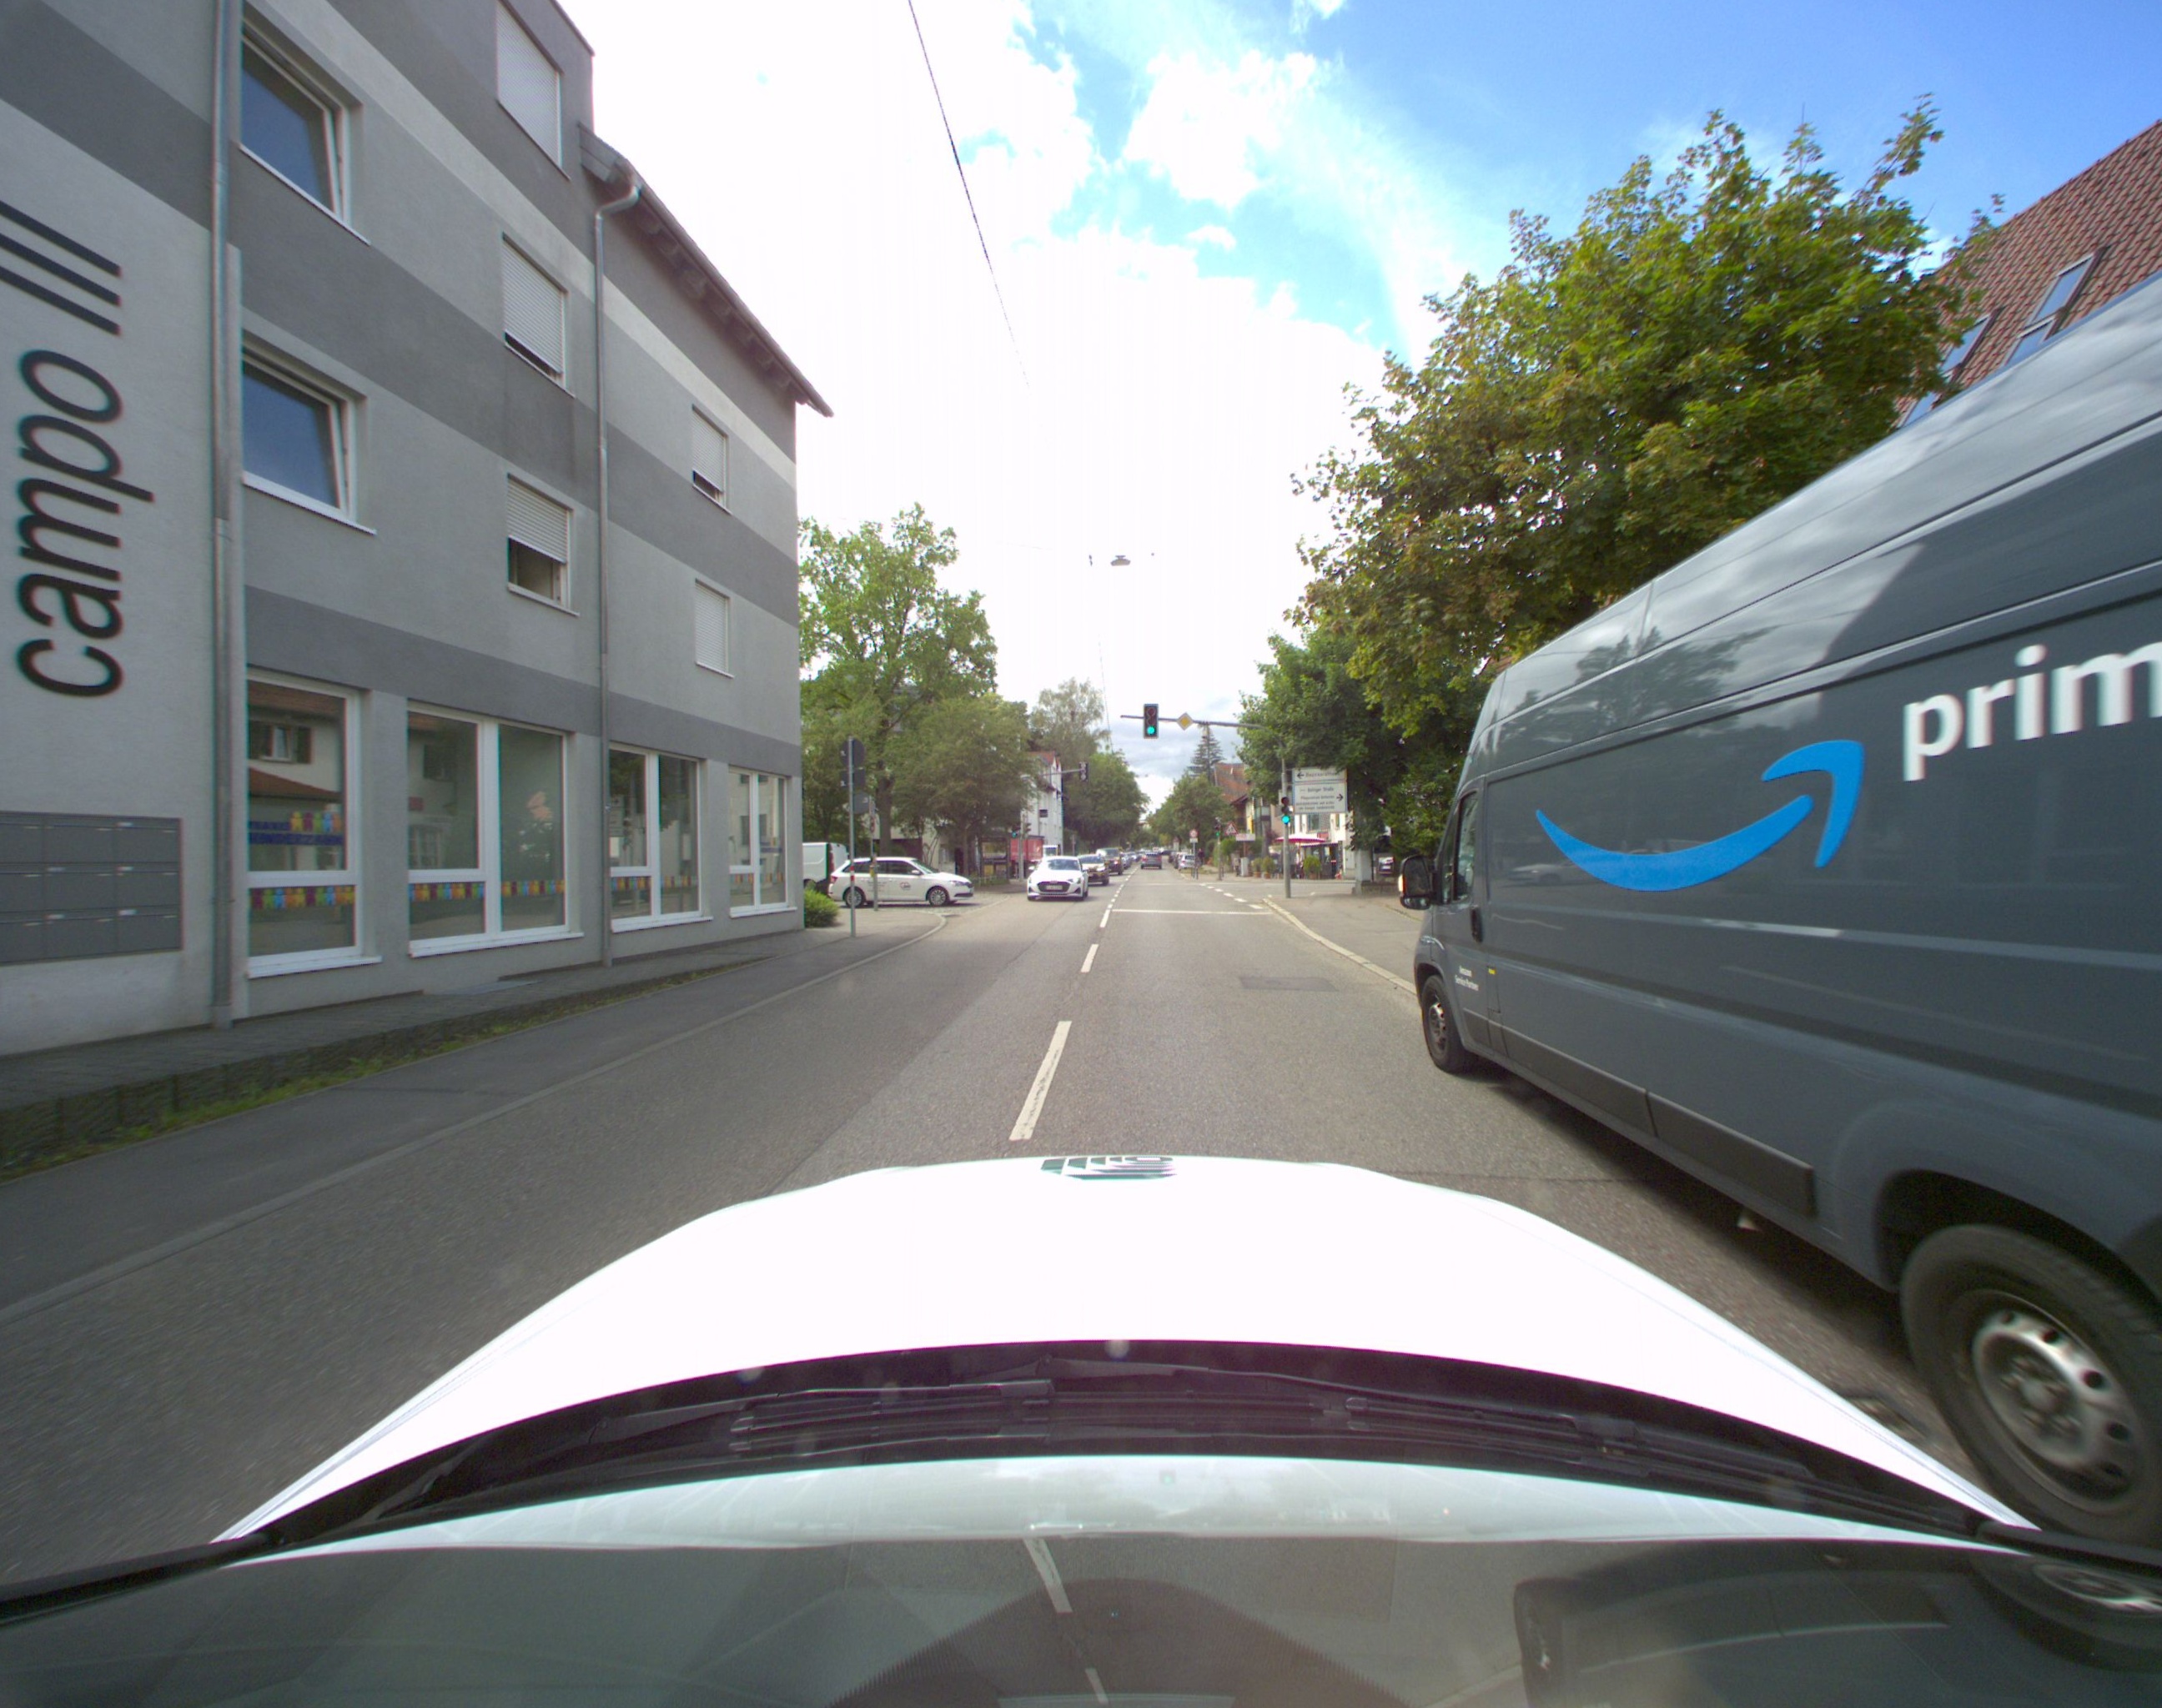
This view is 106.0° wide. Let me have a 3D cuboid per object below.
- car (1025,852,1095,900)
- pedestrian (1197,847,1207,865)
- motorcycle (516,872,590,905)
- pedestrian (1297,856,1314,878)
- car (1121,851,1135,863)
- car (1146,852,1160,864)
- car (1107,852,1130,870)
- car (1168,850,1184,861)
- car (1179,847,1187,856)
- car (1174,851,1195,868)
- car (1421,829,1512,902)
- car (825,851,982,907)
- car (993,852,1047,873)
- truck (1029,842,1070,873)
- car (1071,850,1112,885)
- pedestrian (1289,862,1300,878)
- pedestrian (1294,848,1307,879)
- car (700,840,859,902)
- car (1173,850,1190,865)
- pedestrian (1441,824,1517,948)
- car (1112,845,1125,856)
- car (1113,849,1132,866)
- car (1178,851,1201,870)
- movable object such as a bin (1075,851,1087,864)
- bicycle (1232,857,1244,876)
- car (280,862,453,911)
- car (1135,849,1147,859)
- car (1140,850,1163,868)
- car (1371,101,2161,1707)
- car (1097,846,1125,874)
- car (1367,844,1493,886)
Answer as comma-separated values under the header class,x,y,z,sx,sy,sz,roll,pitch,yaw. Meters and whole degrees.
class,x,y,z,sx,sy,sz,roll,pitch,yaw
car,-0.617,0.665,26.953,1.865,1.424,4.120,-1,0,5
pedestrian,11.751,0.226,79.153,0.876,1.712,0.844,-1,-1,6
motorcycle,-17.973,1.141,27.819,1.201,1.004,2.333,-1,0,-8
pedestrian,11.712,0.681,42.481,0.568,1.089,0.630,-1,-1,-20
car,6.533,0.381,113.144,1.751,1.439,3.976,-3,0,5
car,9.743,0.551,109.697,1.807,1.500,4.274,0,1,6
car,3.463,0.609,74.220,1.797,1.571,4.165,-3,0,5
car,12.325,0.173,106.170,1.793,1.445,4.892,1,1,4
car,25.827,-0.599,205.461,1.983,2.014,4.008,-1,0,7
car,9.590,0.488,75.755,1.726,1.428,4.890,2,1,5
car,9.895,0.240,20.737,1.735,1.517,4.105,-5,0,29
car,-5.222,0.717,24.317,4.192,1.513,1.824,-1,1,4
car,-4.327,0.559,58.023,3.679,1.425,1.805,-1,0,1
truck,-2.453,0.291,65.399,2.212,2.380,6.339,-1,0,8
car,0.550,0.623,39.527,1.720,1.538,4.005,-1,1,4
pedestrian,12.325,0.932,47.011,0.419,0.938,0.495,-1,-1,-16
pedestrian,12.767,0.543,47.376,0.428,1.762,0.672,-1,-1,-16
car,-10.249,0.552,27.936,4.603,2.009,2.096,-1,0,2
car,10.760,0.312,87.255,1.614,1.507,3.784,-1,0,5
pedestrian,6.045,0.461,12.364,0.904,1.782,0.734,-1,0,-43
car,7.438,-0.697,161.476,2.134,1.981,4.941,-1,0,8
car,4.160,0.299,81.279,1.720,1.502,4.381,-3,0,4
car,8.929,0.517,67.443,1.692,1.480,4.879,0,1,5
movable object such as a bin,0.034,0.389,91.692,1.326,1.427,1.213,-1,-1,-1
bicycle,9.946,0.786,51.676,0.716,1.150,2.219,-1,-1,10
car,-24.441,1.085,27.977,4.130,1.576,2.039,-1,0,1
car,10.400,0.021,140.998,1.777,1.648,4.497,-3,0,5
car,6.375,0.457,73.521,1.966,1.513,4.274,2,1,6
car,3.240,0.082,3.901,2.136,2.770,6.262,-1,0,7
car,2.152,0.401,57.414,1.869,1.912,4.756,-1,0,3
car,13.317,0.386,31.127,4.174,1.415,1.772,-2,1,-12
